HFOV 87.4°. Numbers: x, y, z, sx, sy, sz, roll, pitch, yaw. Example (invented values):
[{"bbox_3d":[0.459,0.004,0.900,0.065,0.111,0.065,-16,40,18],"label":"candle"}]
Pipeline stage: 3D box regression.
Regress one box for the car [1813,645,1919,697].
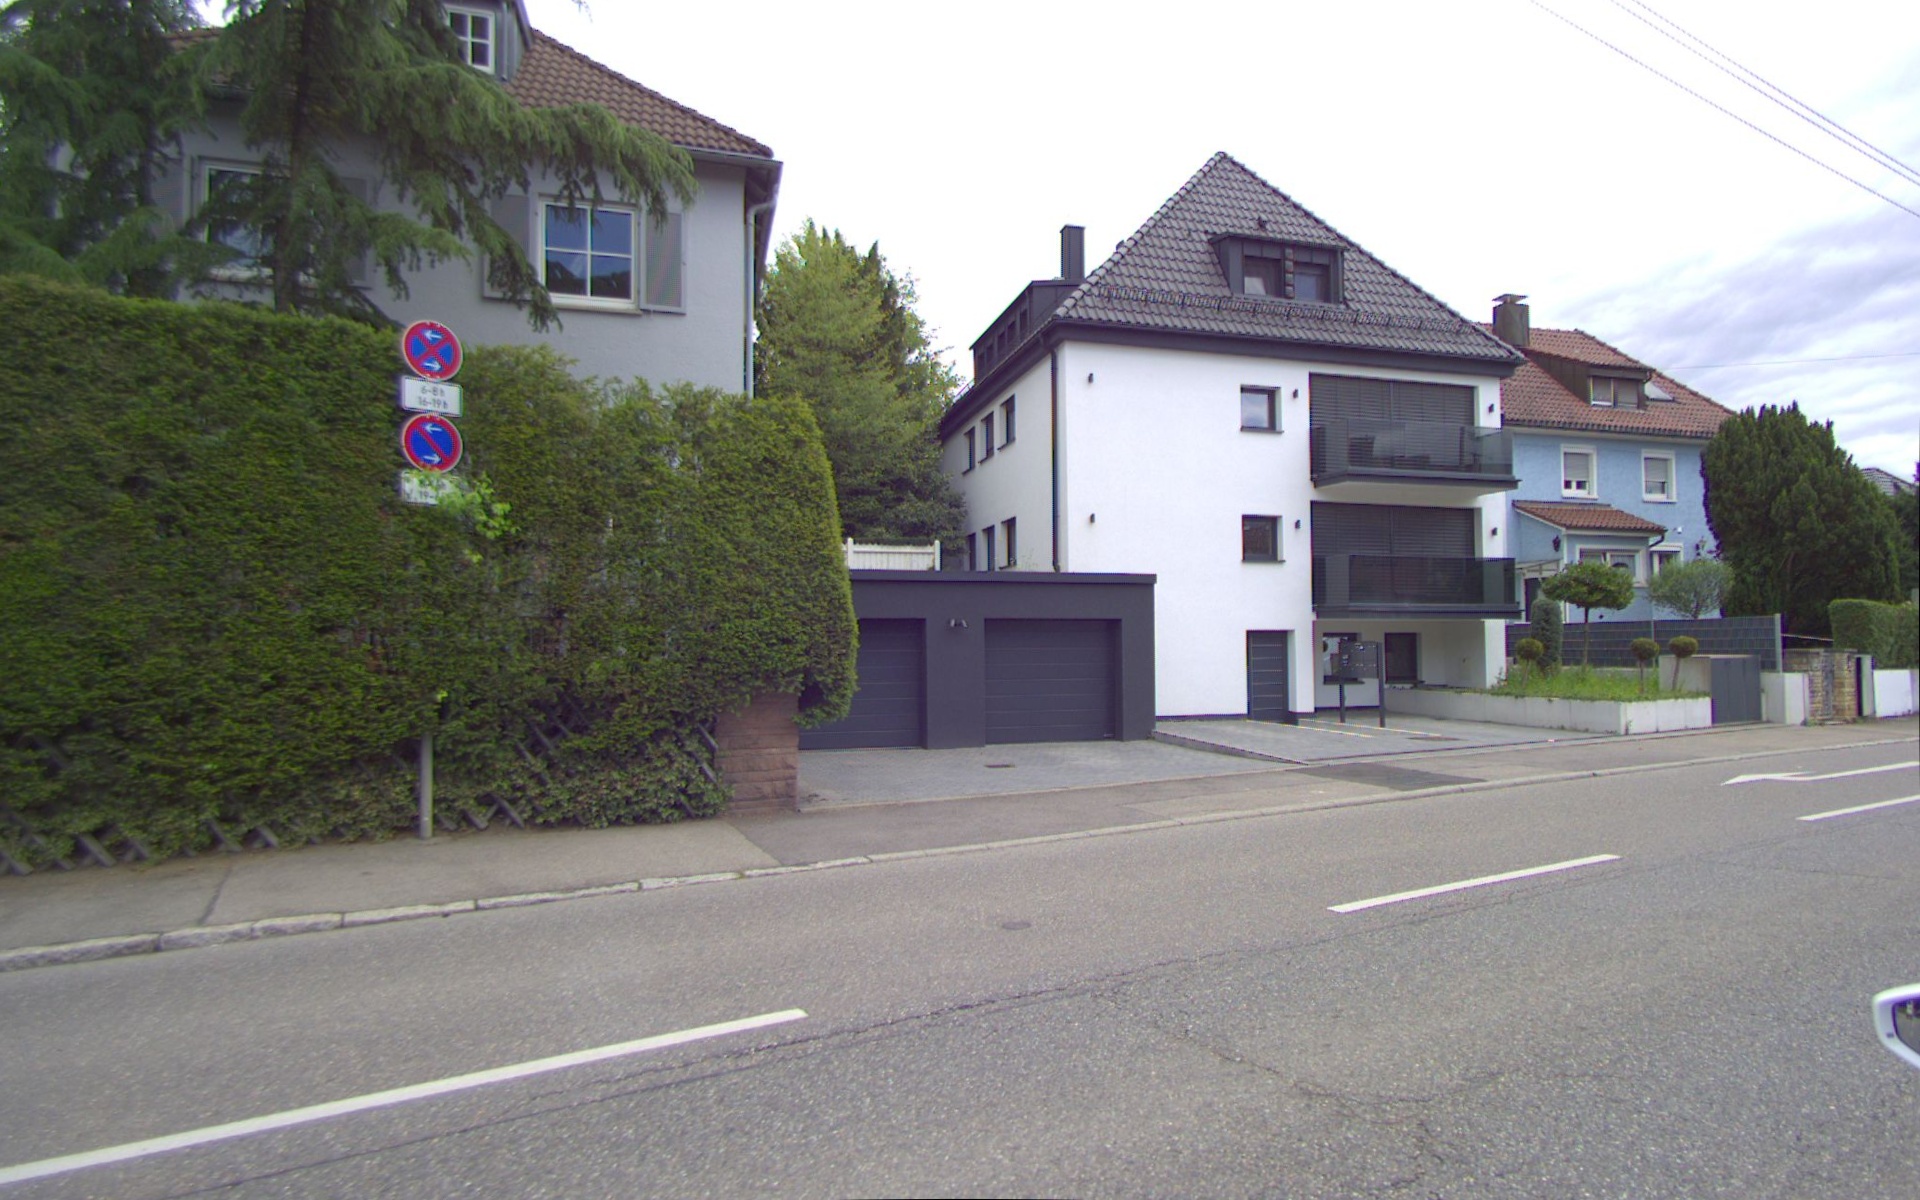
[{"bbox_3d":[30.306,2.317,32.670,1.615,1.612,3.591,1,-4,-15],"label":"car"}]
